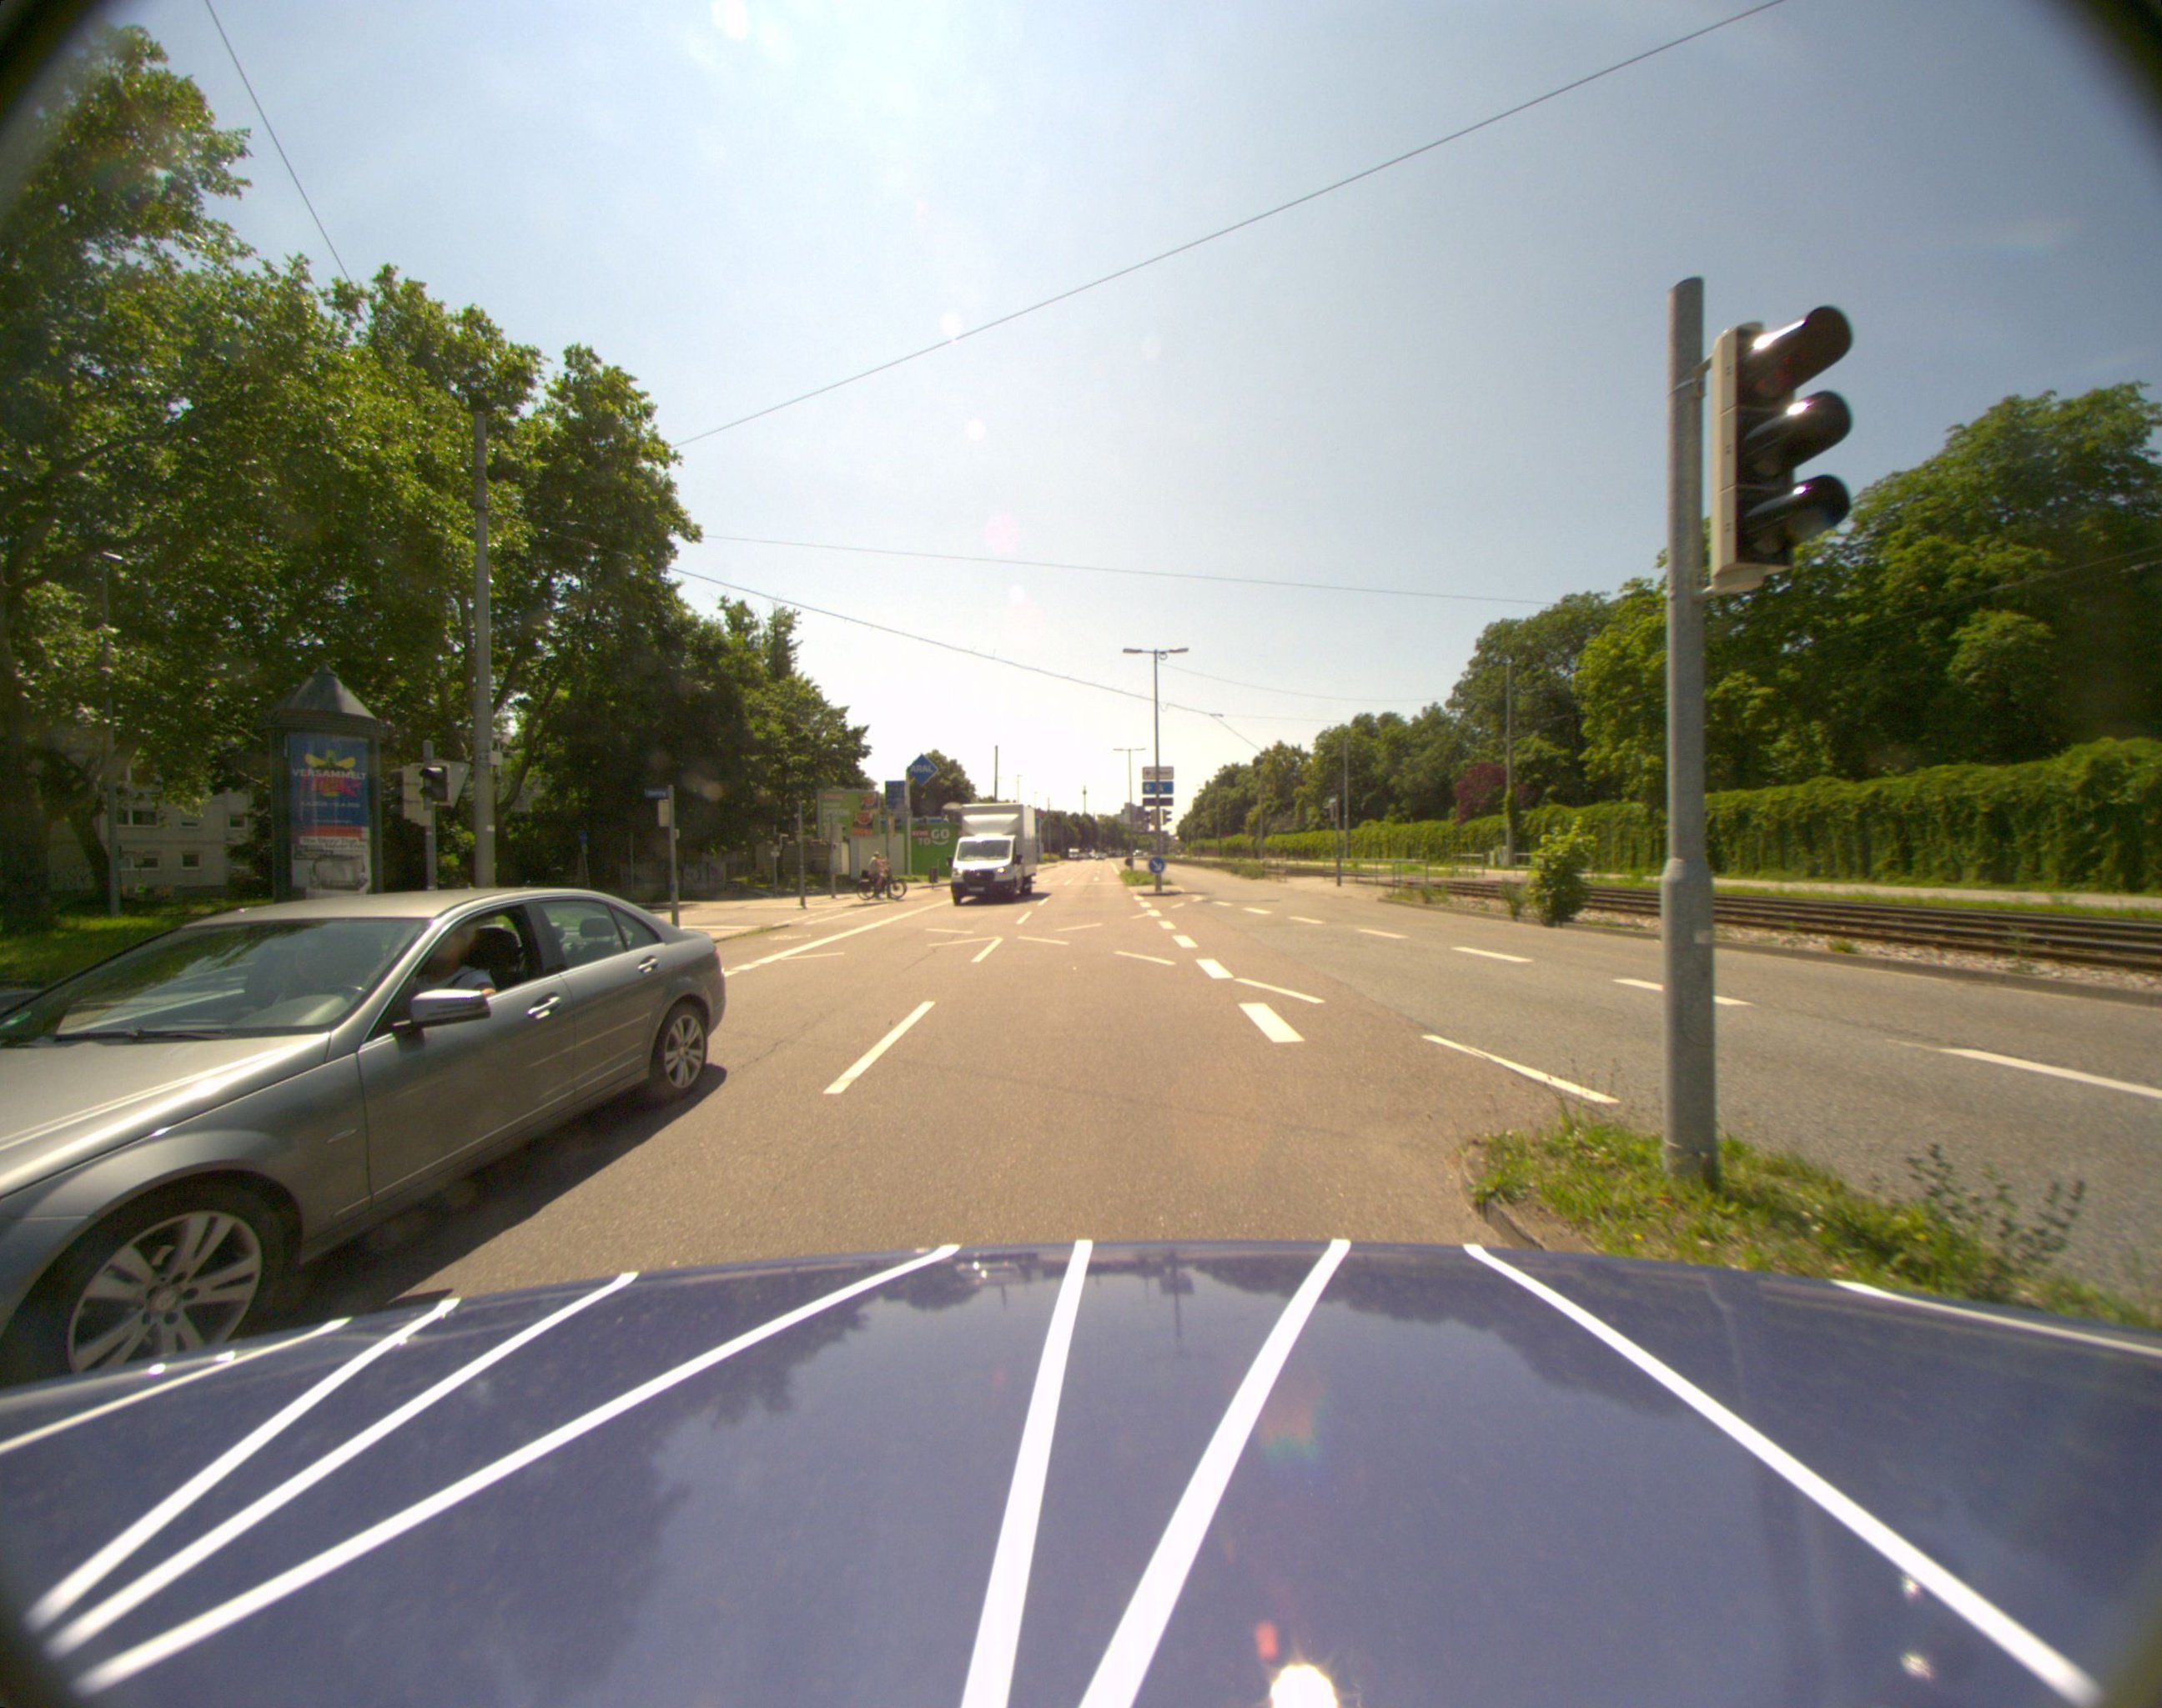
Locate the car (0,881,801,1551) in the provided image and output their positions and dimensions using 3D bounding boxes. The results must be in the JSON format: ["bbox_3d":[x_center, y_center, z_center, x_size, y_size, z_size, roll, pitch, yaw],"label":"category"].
[{"bbox_3d":[-3.456,1.019,4.022,1.717,1.464,5.302,-3,0,2],"label":"car"}]

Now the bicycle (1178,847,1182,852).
[{"bbox_3d":[22.291,-1.099,170.548,0.617,1.049,1.978,-3,1,3],"label":"bicycle"}]

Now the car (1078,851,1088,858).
[{"bbox_3d":[0.479,0.044,179.641,1.912,1.488,4.001,-3,1,5],"label":"car"}]

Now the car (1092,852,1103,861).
[{"bbox_3d":[3.245,0.496,151.151,1.947,1.674,3.999,-3,1,0],"label":"car"}]

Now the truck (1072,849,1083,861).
[{"bbox_3d":[-0.725,0.179,159.513,1.998,2.462,5.237,-3,1,2],"label":"truck"}]

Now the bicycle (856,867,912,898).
[{"bbox_3d":[-7.800,1.129,30.139,1.870,1.118,0.895,-2,1,9],"label":"bicycle"}]

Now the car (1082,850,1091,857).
[{"bbox_3d":[1.278,-0.098,184.401,1.912,1.488,4.001,-3,1,5],"label":"car"}]

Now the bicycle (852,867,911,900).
[{"bbox_3d":[-7.539,1.122,28.788,1.955,1.152,0.895,-2,1,-2],"label":"bicycle"}]

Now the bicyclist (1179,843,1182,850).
[{"bbox_3d":[22.261,-1.654,170.462,0.483,1.603,0.769,-3,1,3],"label":"bicyclist"}]

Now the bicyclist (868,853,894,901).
[{"bbox_3d":[-7.589,0.858,28.880,0.726,1.778,0.976,-2,1,-2],"label":"bicyclist"}]

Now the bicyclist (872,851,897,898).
[{"bbox_3d":[-7.802,0.800,30.157,0.578,1.777,0.768,-3,1,9],"label":"bicyclist"}]

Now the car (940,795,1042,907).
[{"bbox_3d":[-2.925,-0.145,27.286,2.229,3.316,8.635,-2,1,2],"label":"car"}]
